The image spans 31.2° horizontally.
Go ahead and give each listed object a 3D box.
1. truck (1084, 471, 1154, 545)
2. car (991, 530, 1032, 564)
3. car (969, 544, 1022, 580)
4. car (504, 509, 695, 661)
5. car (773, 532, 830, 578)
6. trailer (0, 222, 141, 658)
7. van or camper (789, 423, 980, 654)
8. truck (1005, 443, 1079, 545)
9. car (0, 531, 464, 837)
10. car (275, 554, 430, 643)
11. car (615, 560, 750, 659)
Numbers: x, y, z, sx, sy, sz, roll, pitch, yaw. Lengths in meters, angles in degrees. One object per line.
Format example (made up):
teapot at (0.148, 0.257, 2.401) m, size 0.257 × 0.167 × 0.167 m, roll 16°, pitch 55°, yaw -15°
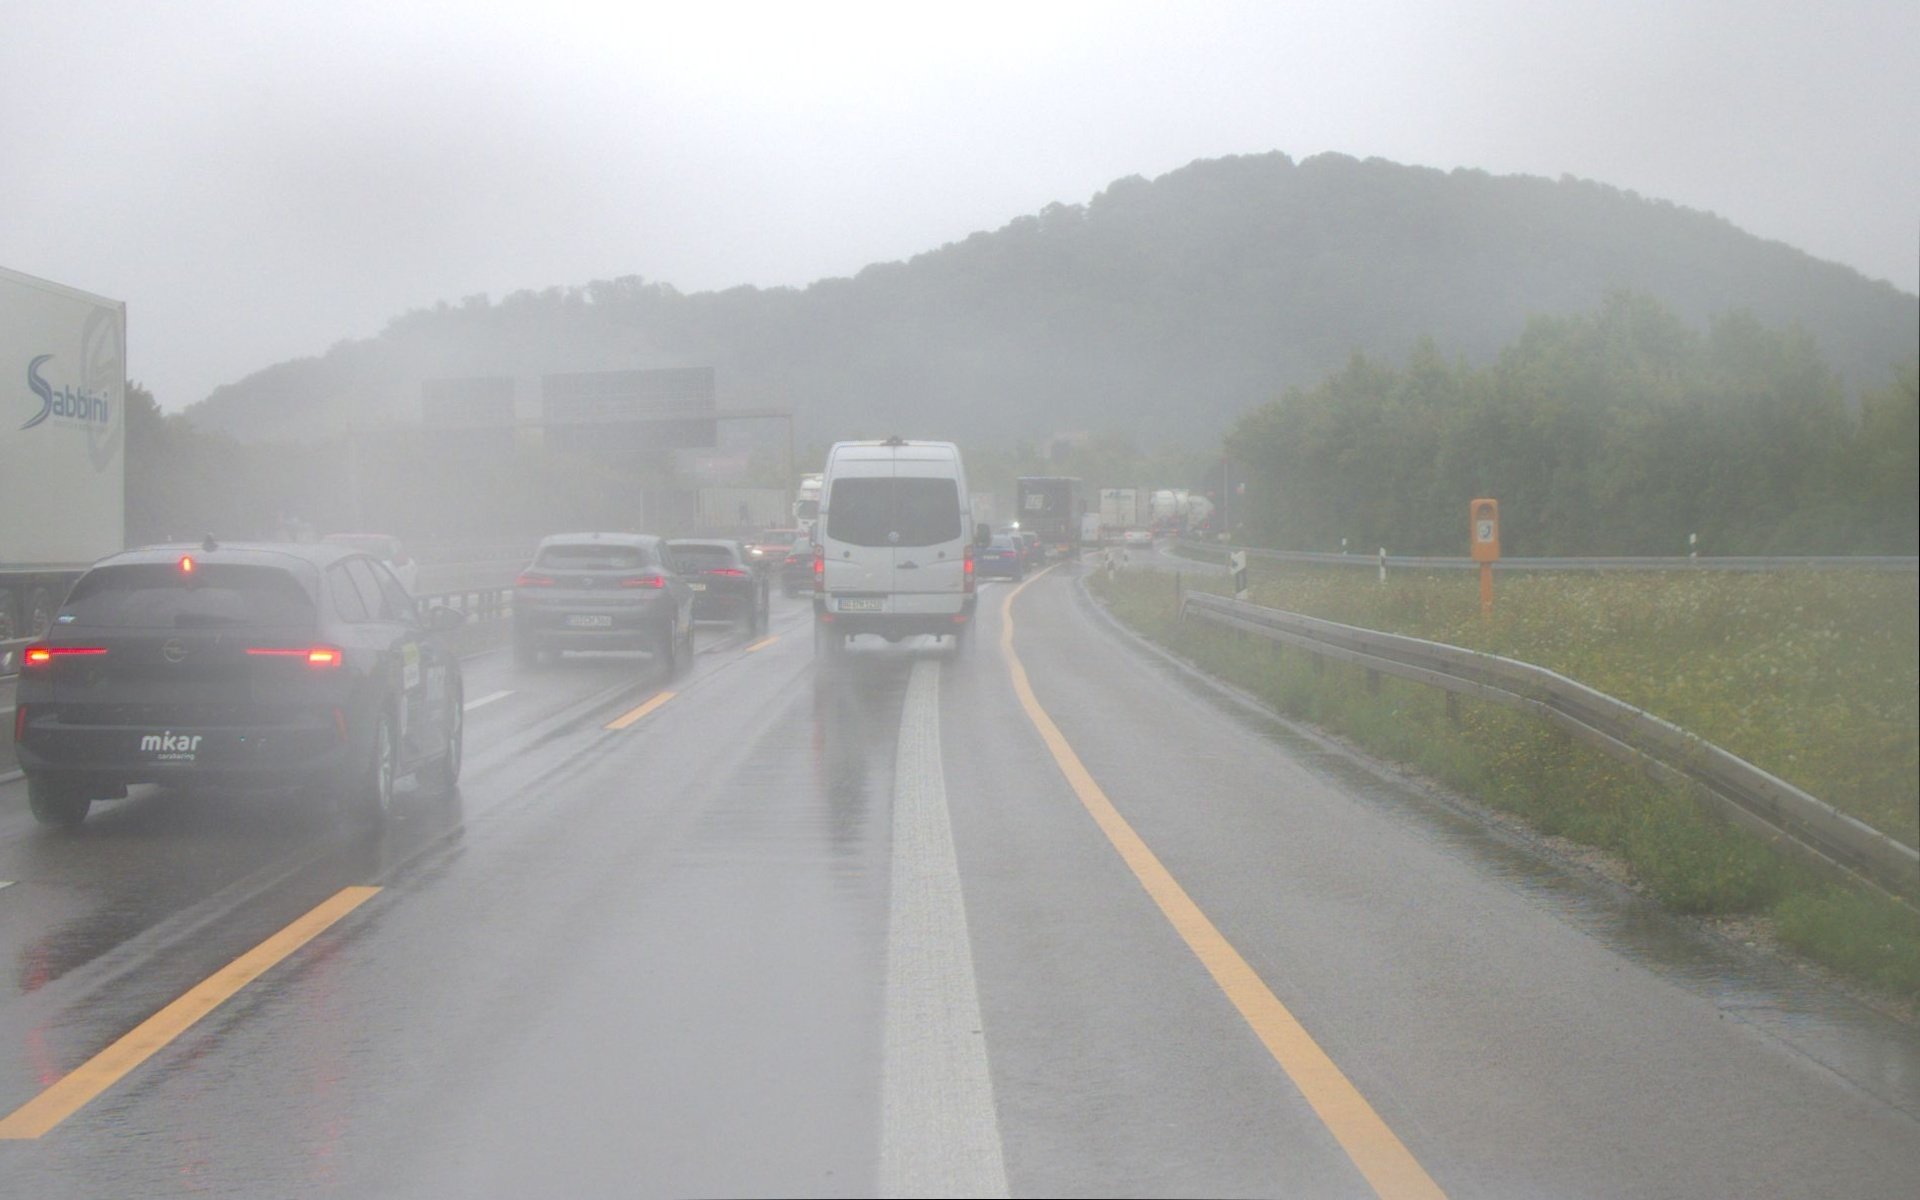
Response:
truck at (10.912, -6.226, 234.871) m, size 3.929 × 4.768 × 9.904 m, roll 2°, pitch 1°, yaw 7°
car at (1.928, -1.988, 128.428) m, size 1.384 × 1.252 × 3.123 m, roll 0°, pitch 1°, yaw -2°
car at (1.093, -1.191, 107.080) m, size 1.384 × 1.074 × 3.123 m, roll 0°, pitch 1°, yaw -4°
car at (-4.103, -0.202, 39.647) m, size 1.867 × 1.653 × 3.988 m, roll 0°, pitch 1°, yaw -1°
car at (-3.762, -1.087, 82.096) m, size 1.262 × 1.074 × 3.255 m, roll 0°, pitch 1°, yaw -1°
trailer at (-10.421, -1.479, 31.741) m, size 2.907 × 4.075 × 12.221 m, roll 0°, pitch 2°, yaw -1°
van or camper at (-1.003, -0.764, 42.855) m, size 2.139 × 2.712 × 4.649 m, roll 0°, pitch 1°, yaw -4°
truck at (4.095, -5.128, 169.233) m, size 3.321 × 4.768 × 9.906 m, roll 1°, pitch 1°, yaw 2°
car at (-3.934, 0.357, 18.643) m, size 1.938 × 1.422 × 4.761 m, roll 1°, pitch 1°, yaw -2°
car at (-10.609, -0.053, 60.322) m, size 1.993 × 1.500 × 4.297 m, roll 0°, pitch 1°, yaw -1°
car at (-4.426, 0.124, 55.290) m, size 1.852 × 1.495 × 4.000 m, roll 0°, pitch 1°, yaw 0°
